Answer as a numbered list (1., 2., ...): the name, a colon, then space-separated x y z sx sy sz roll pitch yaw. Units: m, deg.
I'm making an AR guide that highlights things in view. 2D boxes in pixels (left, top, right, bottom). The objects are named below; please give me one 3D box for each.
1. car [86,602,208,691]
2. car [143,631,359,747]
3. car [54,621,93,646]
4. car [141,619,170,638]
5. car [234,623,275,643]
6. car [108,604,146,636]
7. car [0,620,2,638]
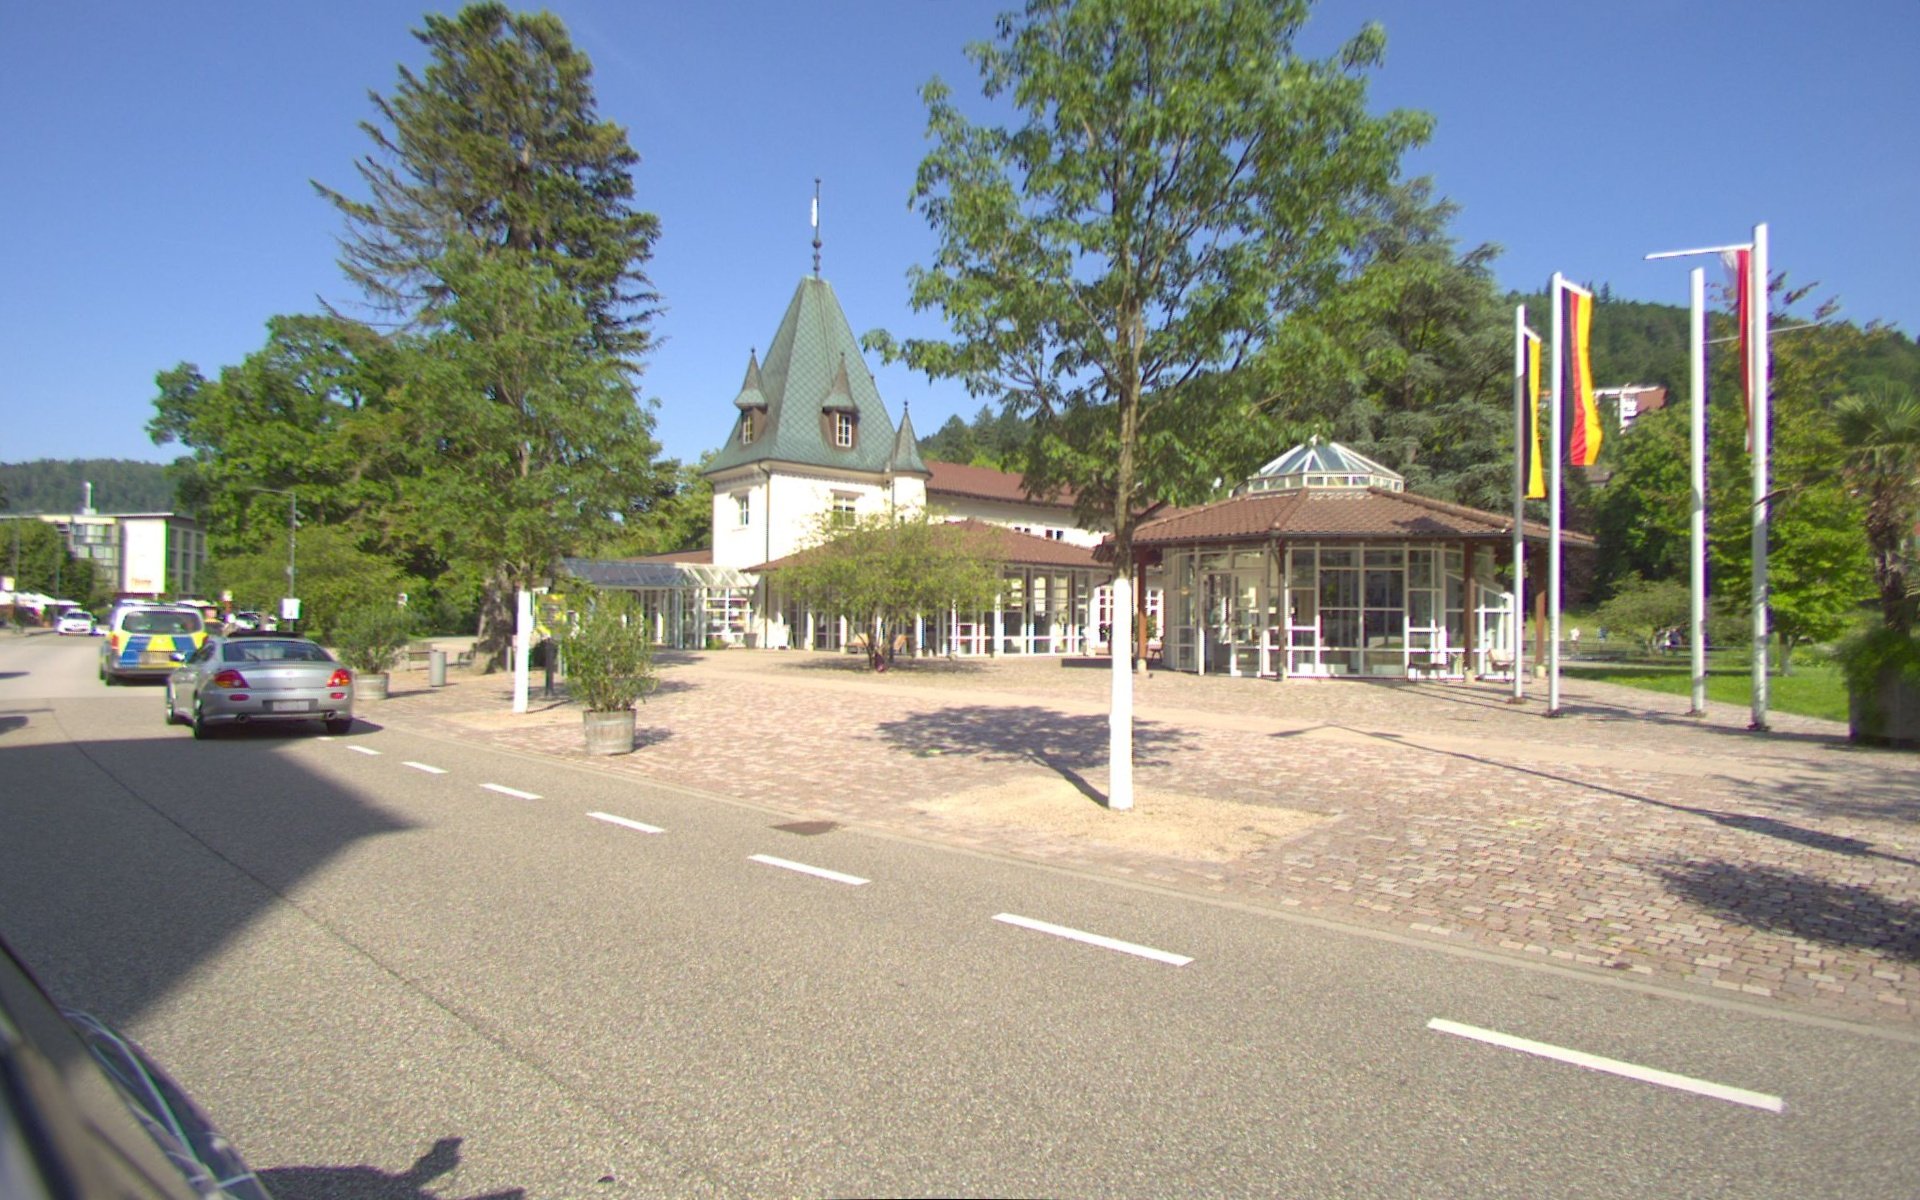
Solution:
1. car: -20.095 1.106 24.928 1.833 1.968 5.021 4 -3 -44
2. car: -10.017 1.156 14.180 4.063 1.381 1.610 -1 -4 43
3. car: -57.374 2.152 65.541 1.629 1.482 4.008 0 -1 -37
4. car: -69.699 2.435 87.662 1.719 1.474 4.194 5 -3 -40
5. car: -57.546 2.691 82.569 2.614 1.558 1.687 0 0 -30
6. car: -76.863 1.842 93.415 1.759 2.812 5.931 0 -1 -30
7. car: -78.841 2.266 80.054 4.205 1.389 1.714 3 -2 -34
